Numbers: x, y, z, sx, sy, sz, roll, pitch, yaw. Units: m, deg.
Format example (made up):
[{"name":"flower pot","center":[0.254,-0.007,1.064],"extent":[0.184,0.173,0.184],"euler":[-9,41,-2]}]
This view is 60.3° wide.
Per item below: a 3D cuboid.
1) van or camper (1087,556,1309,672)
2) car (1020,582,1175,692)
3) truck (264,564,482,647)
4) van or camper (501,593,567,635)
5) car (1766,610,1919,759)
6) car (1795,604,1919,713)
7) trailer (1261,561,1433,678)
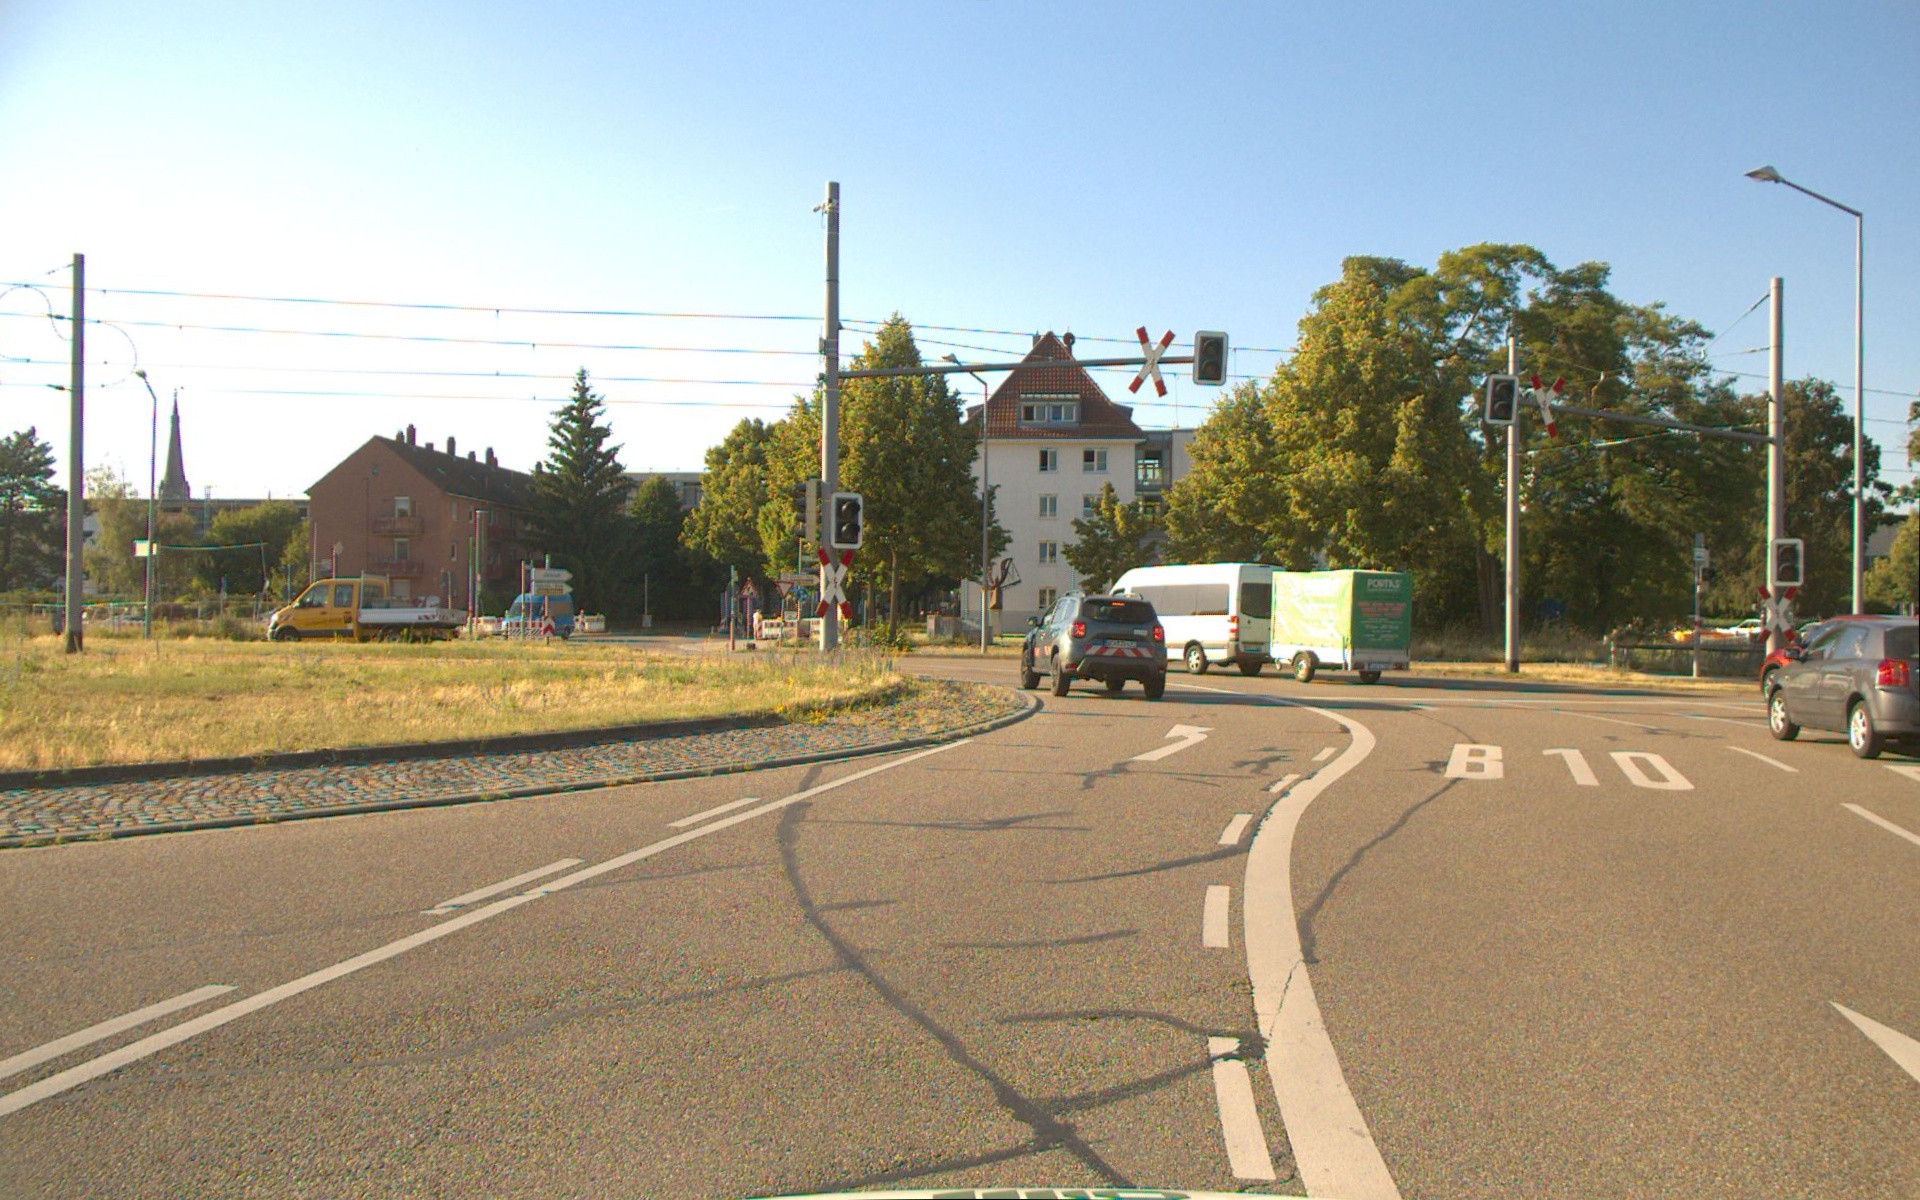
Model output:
[{"name":"van or camper","center":[5.875,0.337,41.990],"extent":[2.257,2.675,6.526],"euler":[2,-1,-26]},{"name":"car","center":[2.205,0.595,27.563],"extent":[1.869,1.689,3.994],"euler":[0,-1,-6]},{"name":"truck","center":[-18.902,0.160,53.409],"extent":[6.098,2.603,2.591],"euler":[0,0,6]},{"name":"van or camper","center":[-23.198,0.746,90.264],"extent":[2.049,2.192,4.426],"euler":[0,0,6]},{"name":"car","center":[10.690,0.881,18.769],"extent":[1.710,1.499,3.823],"euler":[0,0,9]},{"name":"car","center":[15.155,0.905,27.063],"extent":[1.710,1.649,3.823],"euler":[0,0,11]},{"name":"trailer","center":[8.525,0.430,36.682],"extent":[2.061,2.443,3.476],"euler":[2,-1,-23]}]
